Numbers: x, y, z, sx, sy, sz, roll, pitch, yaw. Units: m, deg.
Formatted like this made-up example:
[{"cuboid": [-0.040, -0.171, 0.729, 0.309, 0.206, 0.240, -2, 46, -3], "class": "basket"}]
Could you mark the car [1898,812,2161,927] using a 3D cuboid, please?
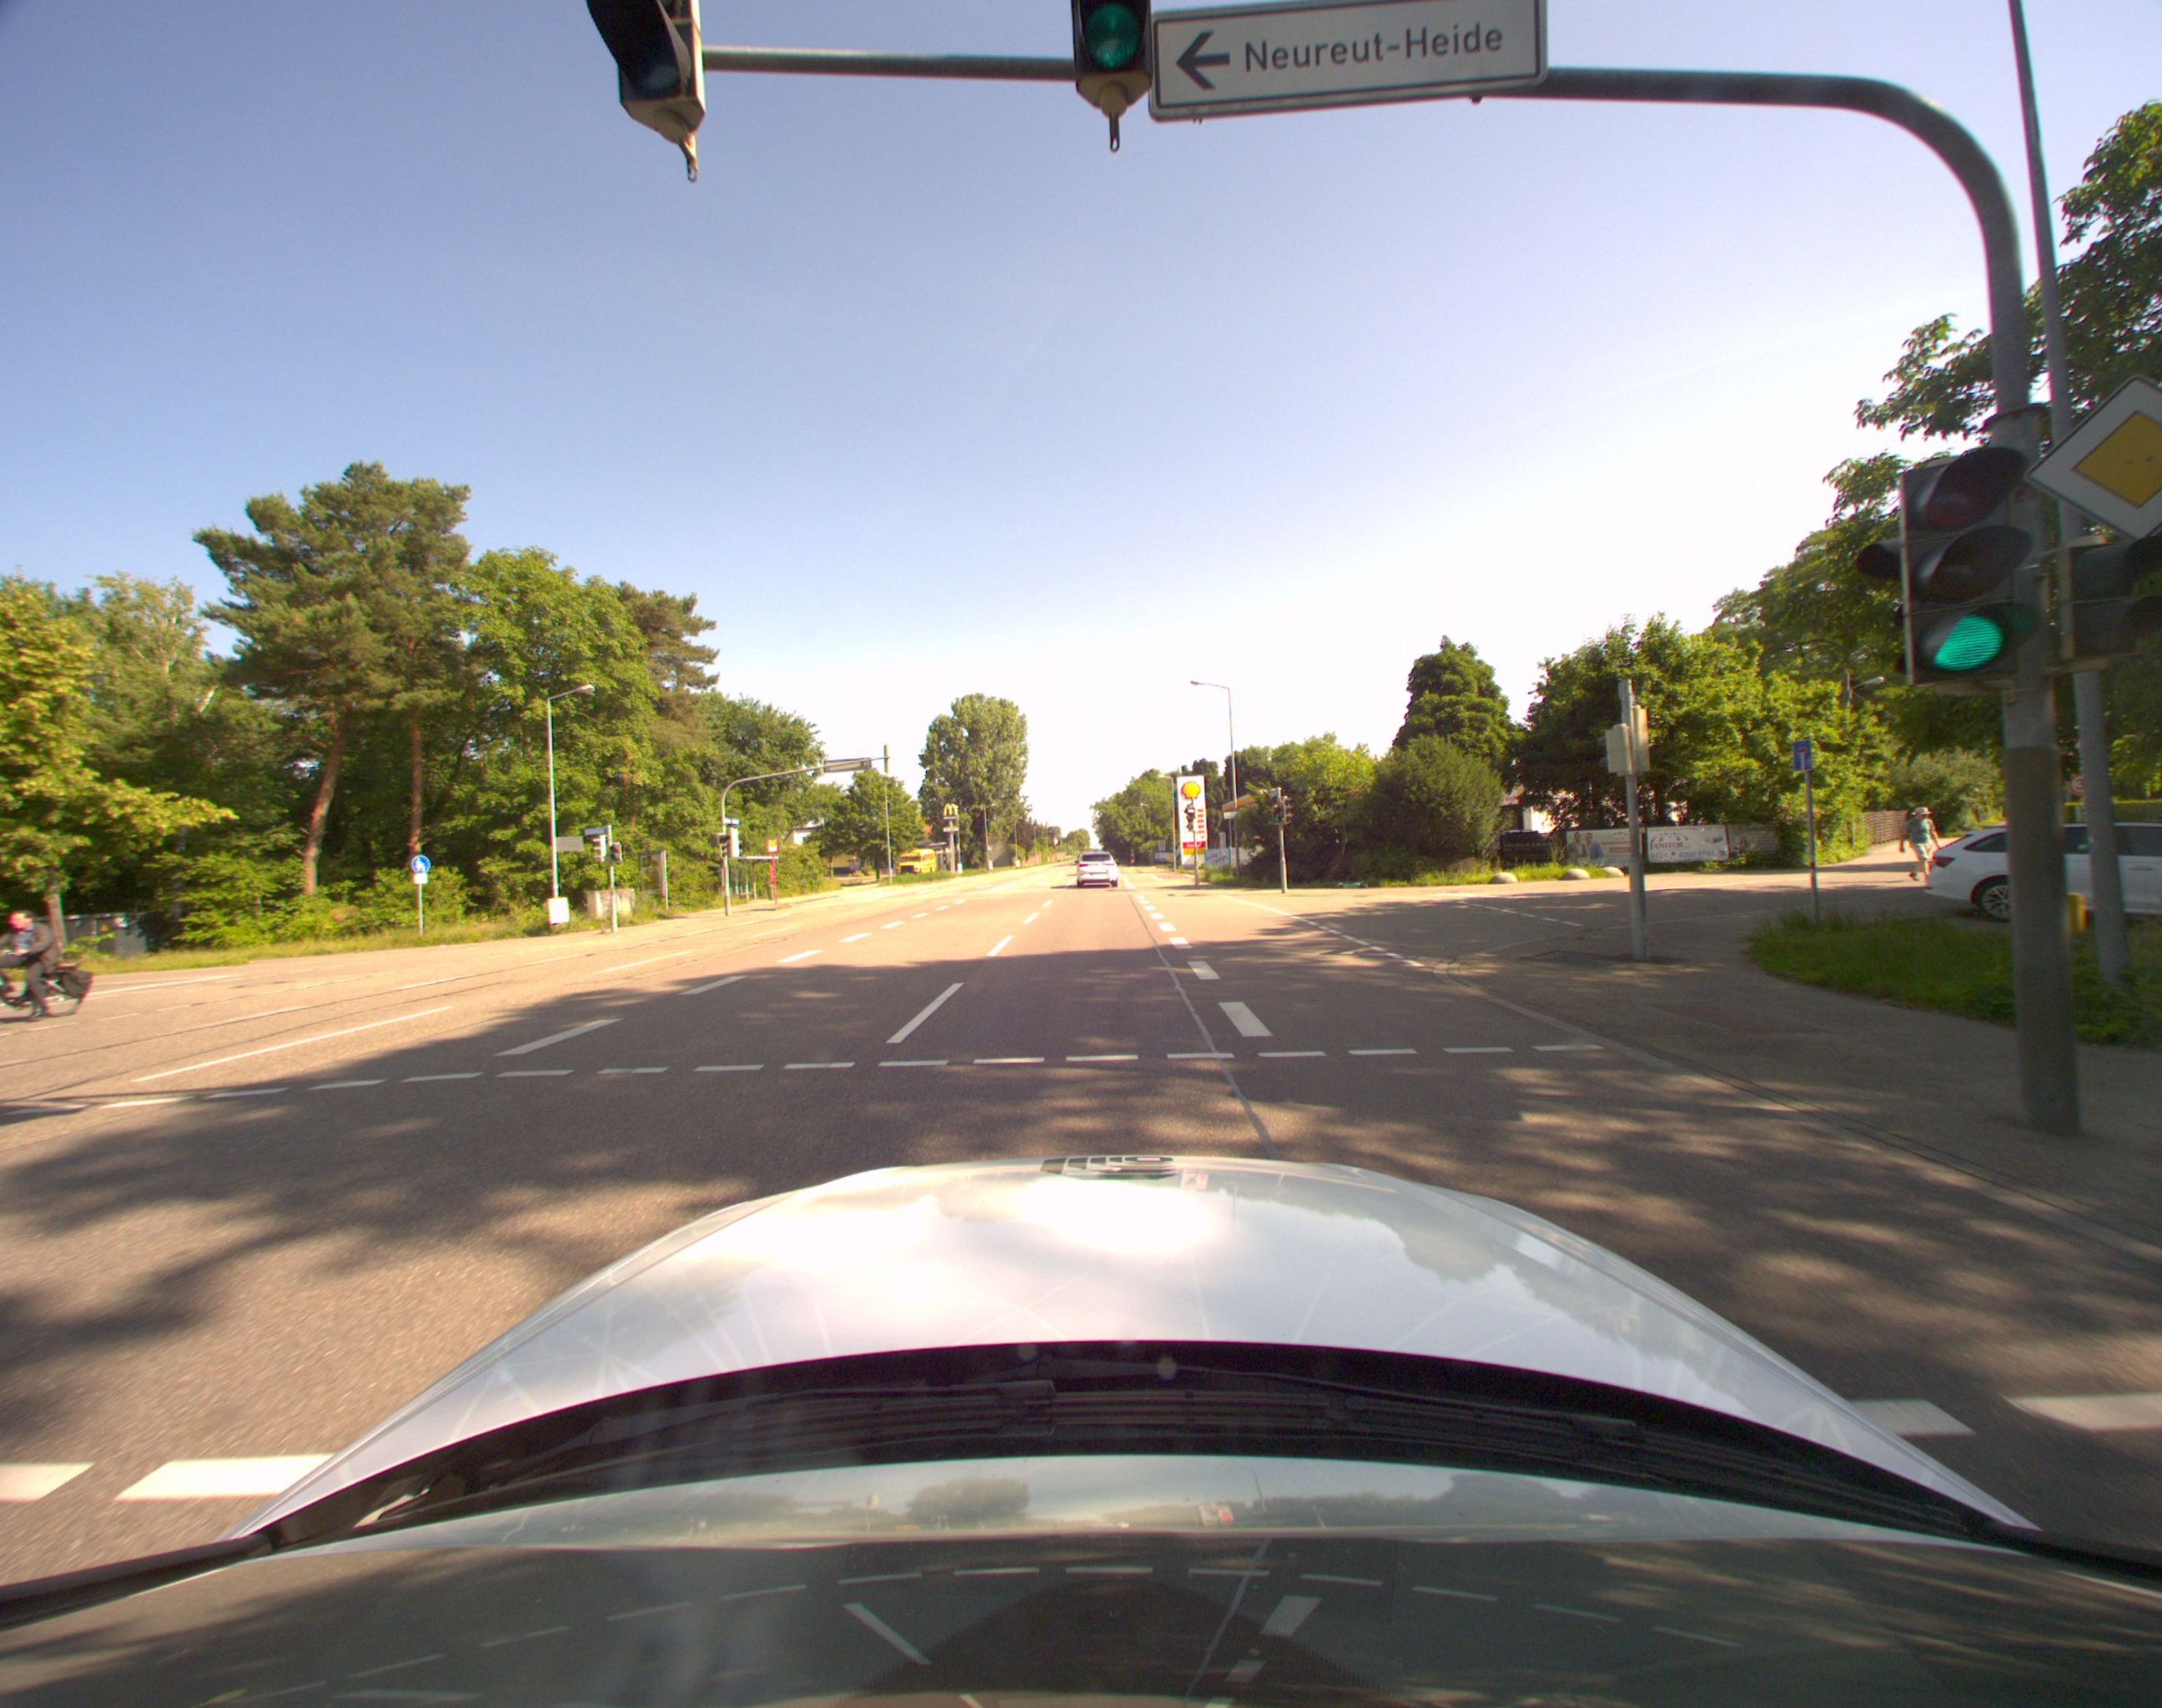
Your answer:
[{"cuboid": [14.644, 0.183, 11.172, 1.628, 1.464, 4.586, -3, 0, -18], "class": "car"}]

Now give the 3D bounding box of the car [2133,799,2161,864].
[{"cuboid": [26.228, -0.601, 17.725, 1.635, 1.464, 3.945, -3, 0, -34], "class": "car"}]

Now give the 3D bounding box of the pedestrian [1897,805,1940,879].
[{"cuboid": [18.764, -0.267, 18.258, 0.417, 1.629, 0.602, -3, 0, -45], "class": "pedestrian"}]

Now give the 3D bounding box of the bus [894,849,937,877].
[{"cuboid": [-17.013, 0.886, 84.306, 2.571, 2.679, 8.994, -1, 0, 0], "class": "bus"}]

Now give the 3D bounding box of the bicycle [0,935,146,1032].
[{"cuboid": [-15.303, 1.888, 11.798, 0.730, 1.163, 2.372, -3, 0, 0], "class": "bicycle"}]

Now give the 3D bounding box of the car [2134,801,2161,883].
[{"cuboid": [20.844, -0.297, 13.514, 3.741, 1.464, 1.639, -3, 0, 33], "class": "car"}]

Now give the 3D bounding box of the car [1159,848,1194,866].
[{"cuboid": [8.783, 0.293, 74.964, 1.587, 1.530, 2.697, 0, -2, -45], "class": "car"}]

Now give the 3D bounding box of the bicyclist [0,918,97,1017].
[{"cuboid": [-15.299, 1.642, 11.888, 0.719, 1.311, 0.883, -3, 0, -1], "class": "bicyclist"}]

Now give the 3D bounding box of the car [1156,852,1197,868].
[{"cuboid": [9.736, 0.569, 83.112, 3.982, 1.530, 1.582, -1, -1, -6], "class": "car"}]

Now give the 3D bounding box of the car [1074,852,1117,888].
[{"cuboid": [0.710, 0.714, 37.798, 1.840, 1.541, 4.226, -1, 0, 2], "class": "car"}]
